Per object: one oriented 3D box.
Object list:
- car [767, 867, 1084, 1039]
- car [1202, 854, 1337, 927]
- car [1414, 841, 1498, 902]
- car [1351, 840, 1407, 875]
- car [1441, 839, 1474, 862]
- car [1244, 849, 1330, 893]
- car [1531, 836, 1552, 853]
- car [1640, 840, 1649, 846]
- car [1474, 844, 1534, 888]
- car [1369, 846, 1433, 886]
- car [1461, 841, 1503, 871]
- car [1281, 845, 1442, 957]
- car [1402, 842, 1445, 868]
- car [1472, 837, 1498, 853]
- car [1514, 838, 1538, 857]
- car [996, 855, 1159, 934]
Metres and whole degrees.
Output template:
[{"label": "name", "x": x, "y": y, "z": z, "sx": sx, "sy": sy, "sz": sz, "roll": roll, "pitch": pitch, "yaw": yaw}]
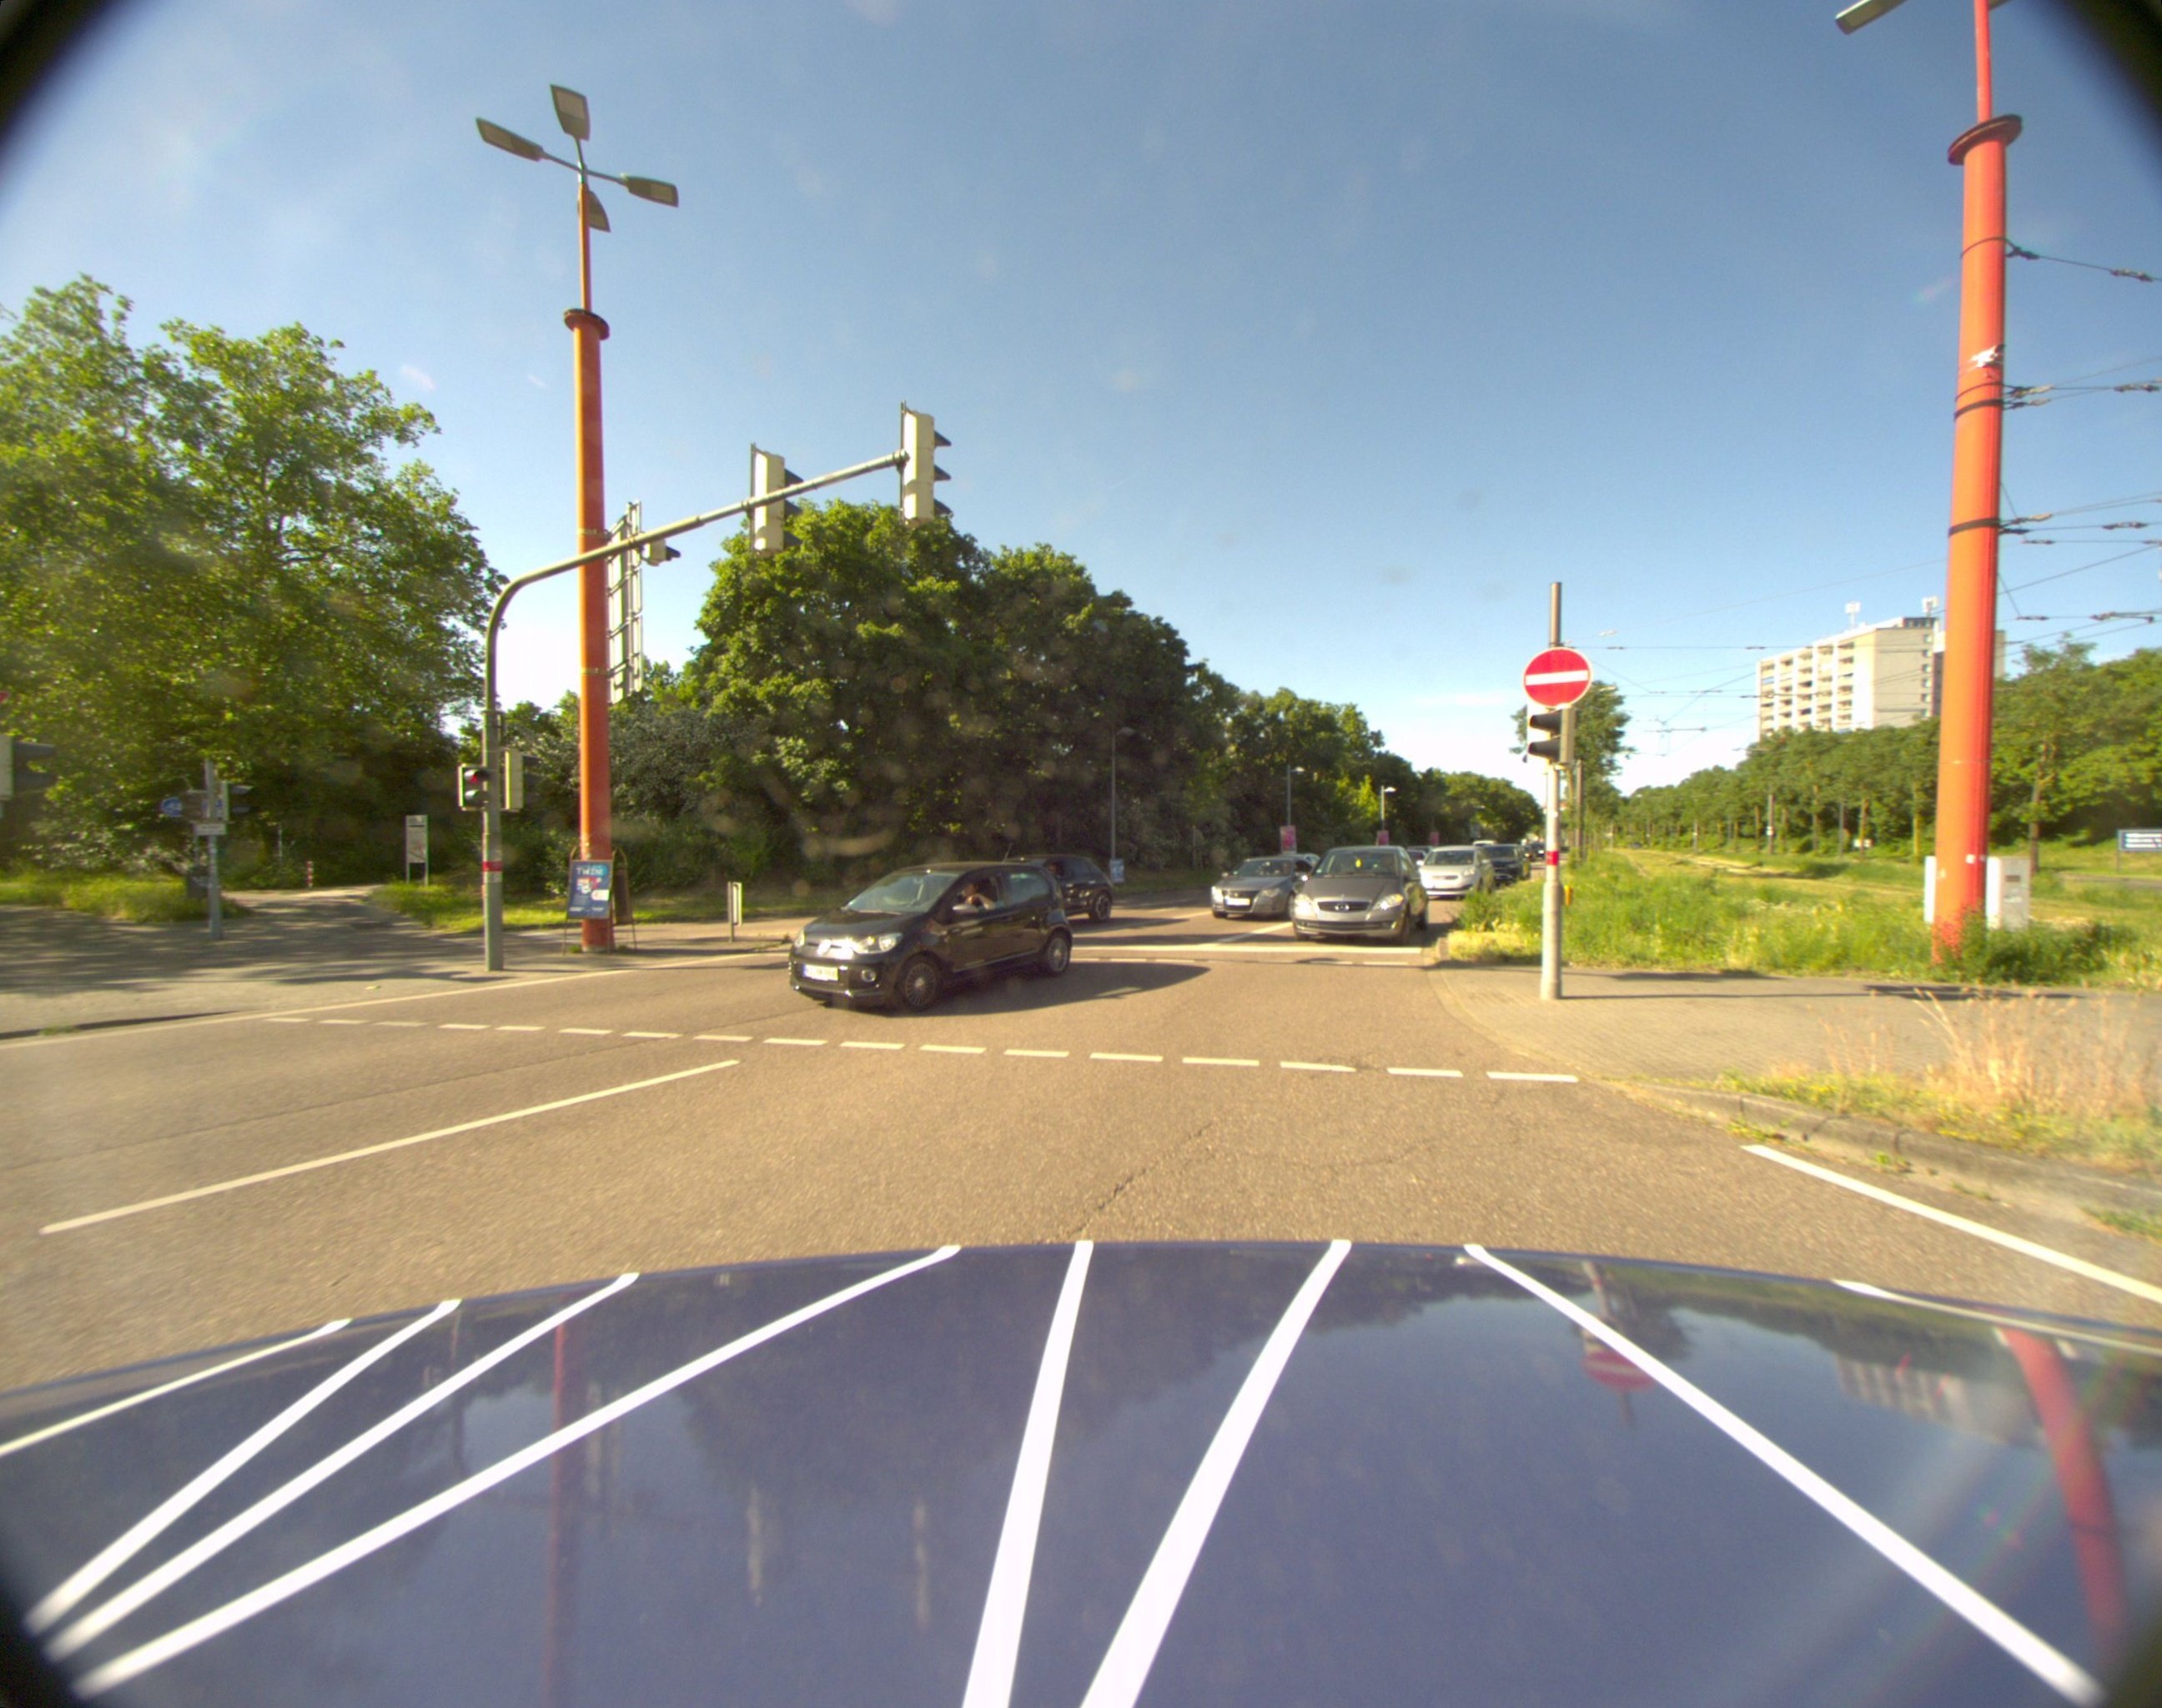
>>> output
[{"label": "car", "x": -1.599, "y": 0.943, "z": 8.843, "sx": 1.618, "sy": 1.485, "sz": 3.460, "roll": -1, "pitch": 0, "yaw": 33}, {"label": "car", "x": 4.527, "y": 0.755, "z": 17.818, "sx": 1.710, "sy": 1.430, "sz": 4.179, "roll": 0, "pitch": 1, "yaw": 34}, {"label": "car", "x": 11.414, "y": 0.476, "z": 23.013, "sx": 1.745, "sy": 1.652, "sz": 4.008, "roll": -1, "pitch": 1, "yaw": 34}, {"label": "car", "x": 14.991, "y": 0.154, "z": 38.116, "sx": 1.745, "sy": 1.652, "sz": 4.008, "roll": 1, "pitch": 1, "yaw": 34}, {"label": "car", "x": 27.382, "y": -0.282, "z": 55.260, "sx": 1.649, "sy": 1.520, "sz": 3.903, "roll": -1, "pitch": 1, "yaw": 34}, {"label": "car", "x": 7.794, "y": 0.587, "z": 28.471, "sx": 1.745, "sy": 1.427, "sz": 4.395, "roll": -1, "pitch": 1, "yaw": 35}, {"label": "car", "x": 46.568, "y": -0.959, "z": 76.790, "sx": 1.691, "sy": 1.652, "sz": 3.834, "roll": -1, "pitch": 1, "yaw": 34}, {"label": "car", "x": 125.172, "y": -2.435, "z": 168.792, "sx": 1.574, "sy": 1.412, "sz": 3.917, "roll": -1, "pitch": 0, "yaw": 34}, {"label": "car", "x": 17.029, "y": 0.419, "z": 30.507, "sx": 1.745, "sy": 1.652, "sz": 4.008, "roll": 0, "pitch": 1, "yaw": 34}, {"label": "car", "x": 12.889, "y": 0.461, "z": 30.450, "sx": 1.682, "sy": 1.437, "sz": 3.734, "roll": -1, "pitch": 1, "yaw": 33}, {"label": "car", "x": 23.483, "y": 0.108, "z": 44.479, "sx": 1.745, "sy": 1.652, "sz": 4.008, "roll": -1, "pitch": 1, "yaw": 34}, {"label": "car", "x": 5.057, "y": 0.683, "z": 13.335, "sx": 1.745, "sy": 1.631, "sz": 4.008, "roll": -1, "pitch": 0, "yaw": 34}, {"label": "car", "x": 20.823, "y": 0.052, "z": 46.137, "sx": 1.710, "sy": 1.485, "sz": 3.971, "roll": 0, "pitch": 1, "yaw": 34}, {"label": "car", "x": 37.905, "y": -0.837, "z": 71.194, "sx": 1.710, "sy": 1.485, "sz": 3.971, "roll": 0, "pitch": 1, "yaw": 34}, {"label": "car", "x": 39.437, "y": -0.594, "z": 67.300, "sx": 1.627, "sy": 1.555, "sz": 3.820, "roll": -1, "pitch": 1, "yaw": 34}, {"label": "car", "x": 0.041, "y": 0.817, "z": 17.180, "sx": 1.710, "sy": 1.485, "sz": 3.971, "roll": 0, "pitch": 1, "yaw": 34}]
